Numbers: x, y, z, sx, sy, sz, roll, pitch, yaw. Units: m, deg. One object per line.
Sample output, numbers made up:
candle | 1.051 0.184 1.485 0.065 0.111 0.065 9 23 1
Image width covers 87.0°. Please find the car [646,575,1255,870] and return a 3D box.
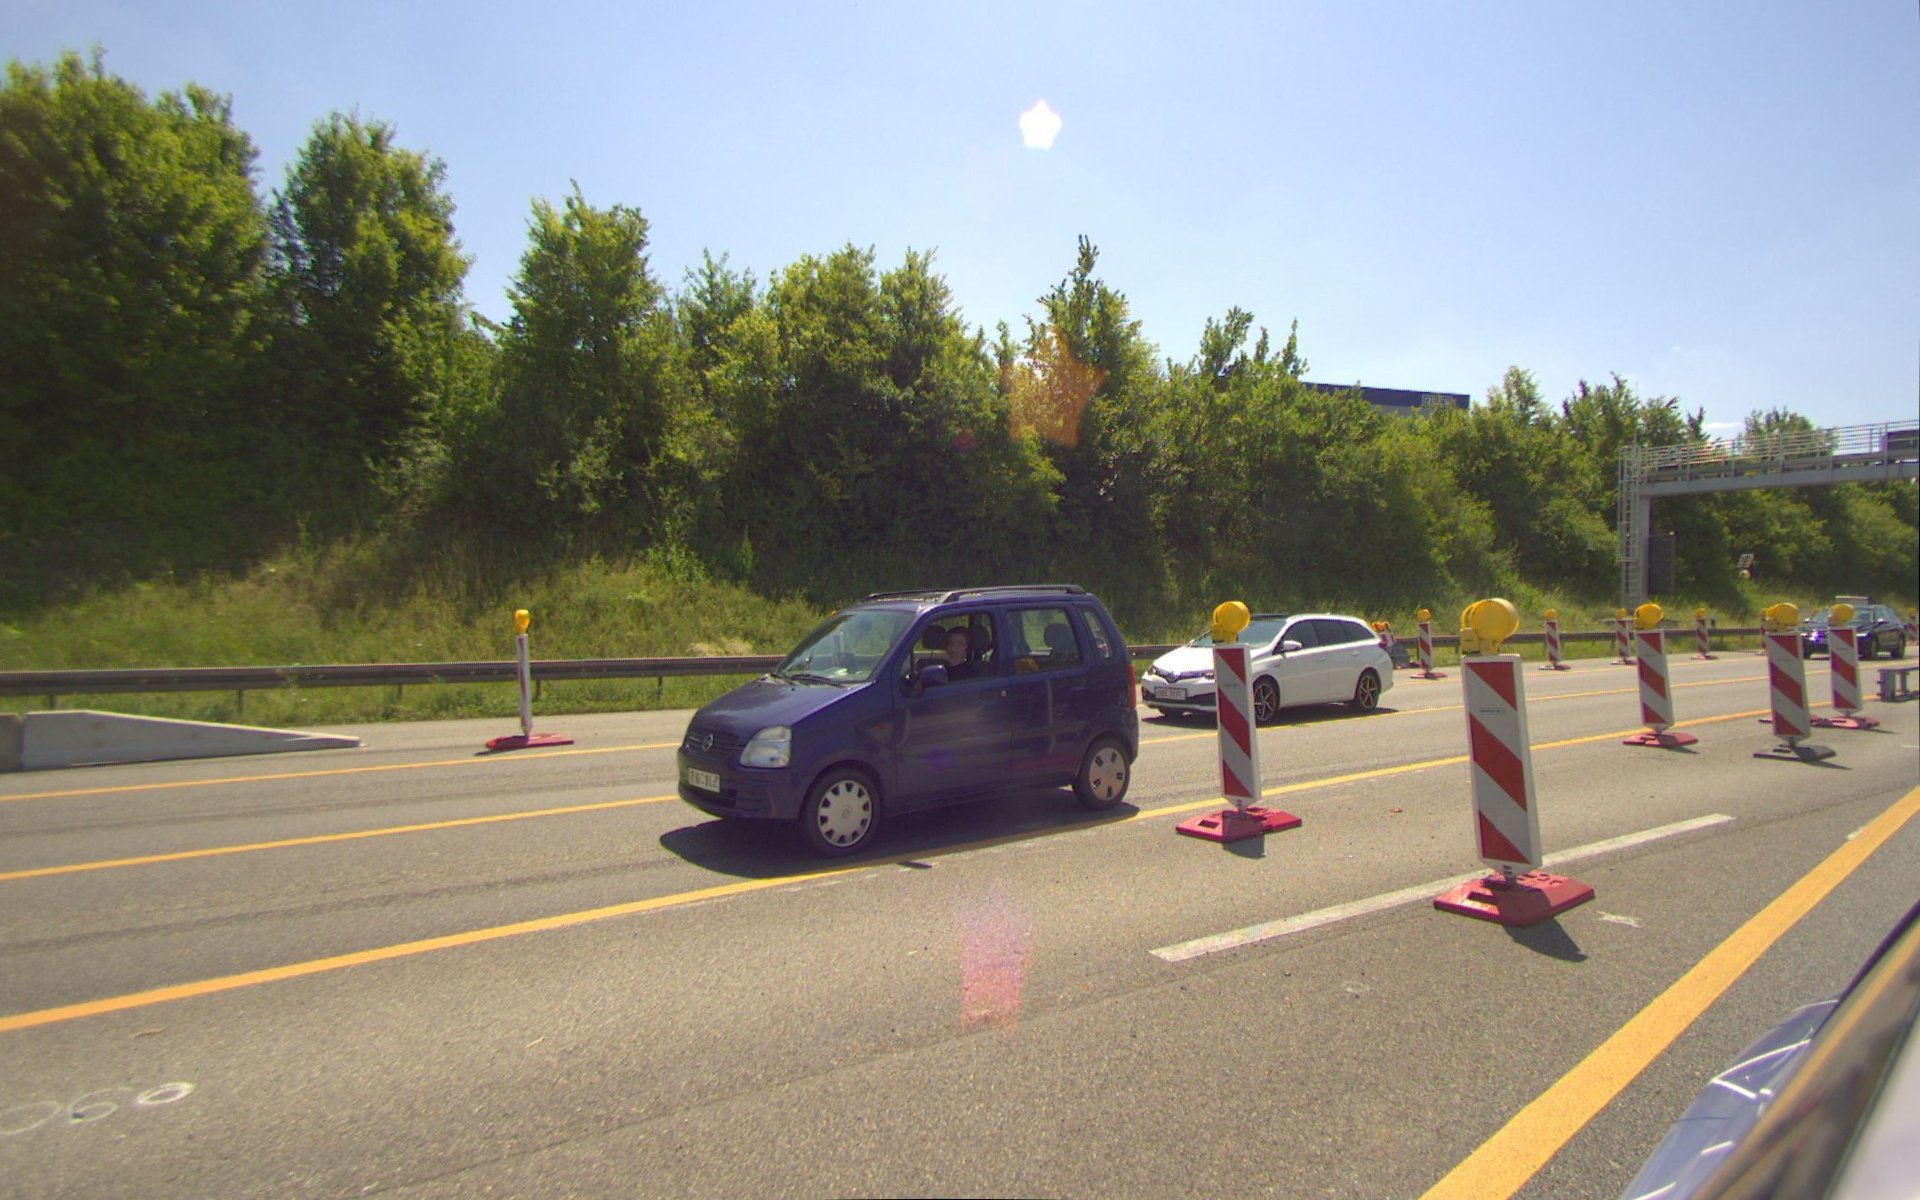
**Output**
car | 0.124 0.694 7.850 4.567 1.663 1.819 0 -1 -38

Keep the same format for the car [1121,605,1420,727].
car | 4.664 0.853 14.940 4.565 1.483 1.820 -1 0 -36

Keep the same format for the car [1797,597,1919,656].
car | 28.175 0.759 31.518 5.138 1.684 2.025 0 0 -35
